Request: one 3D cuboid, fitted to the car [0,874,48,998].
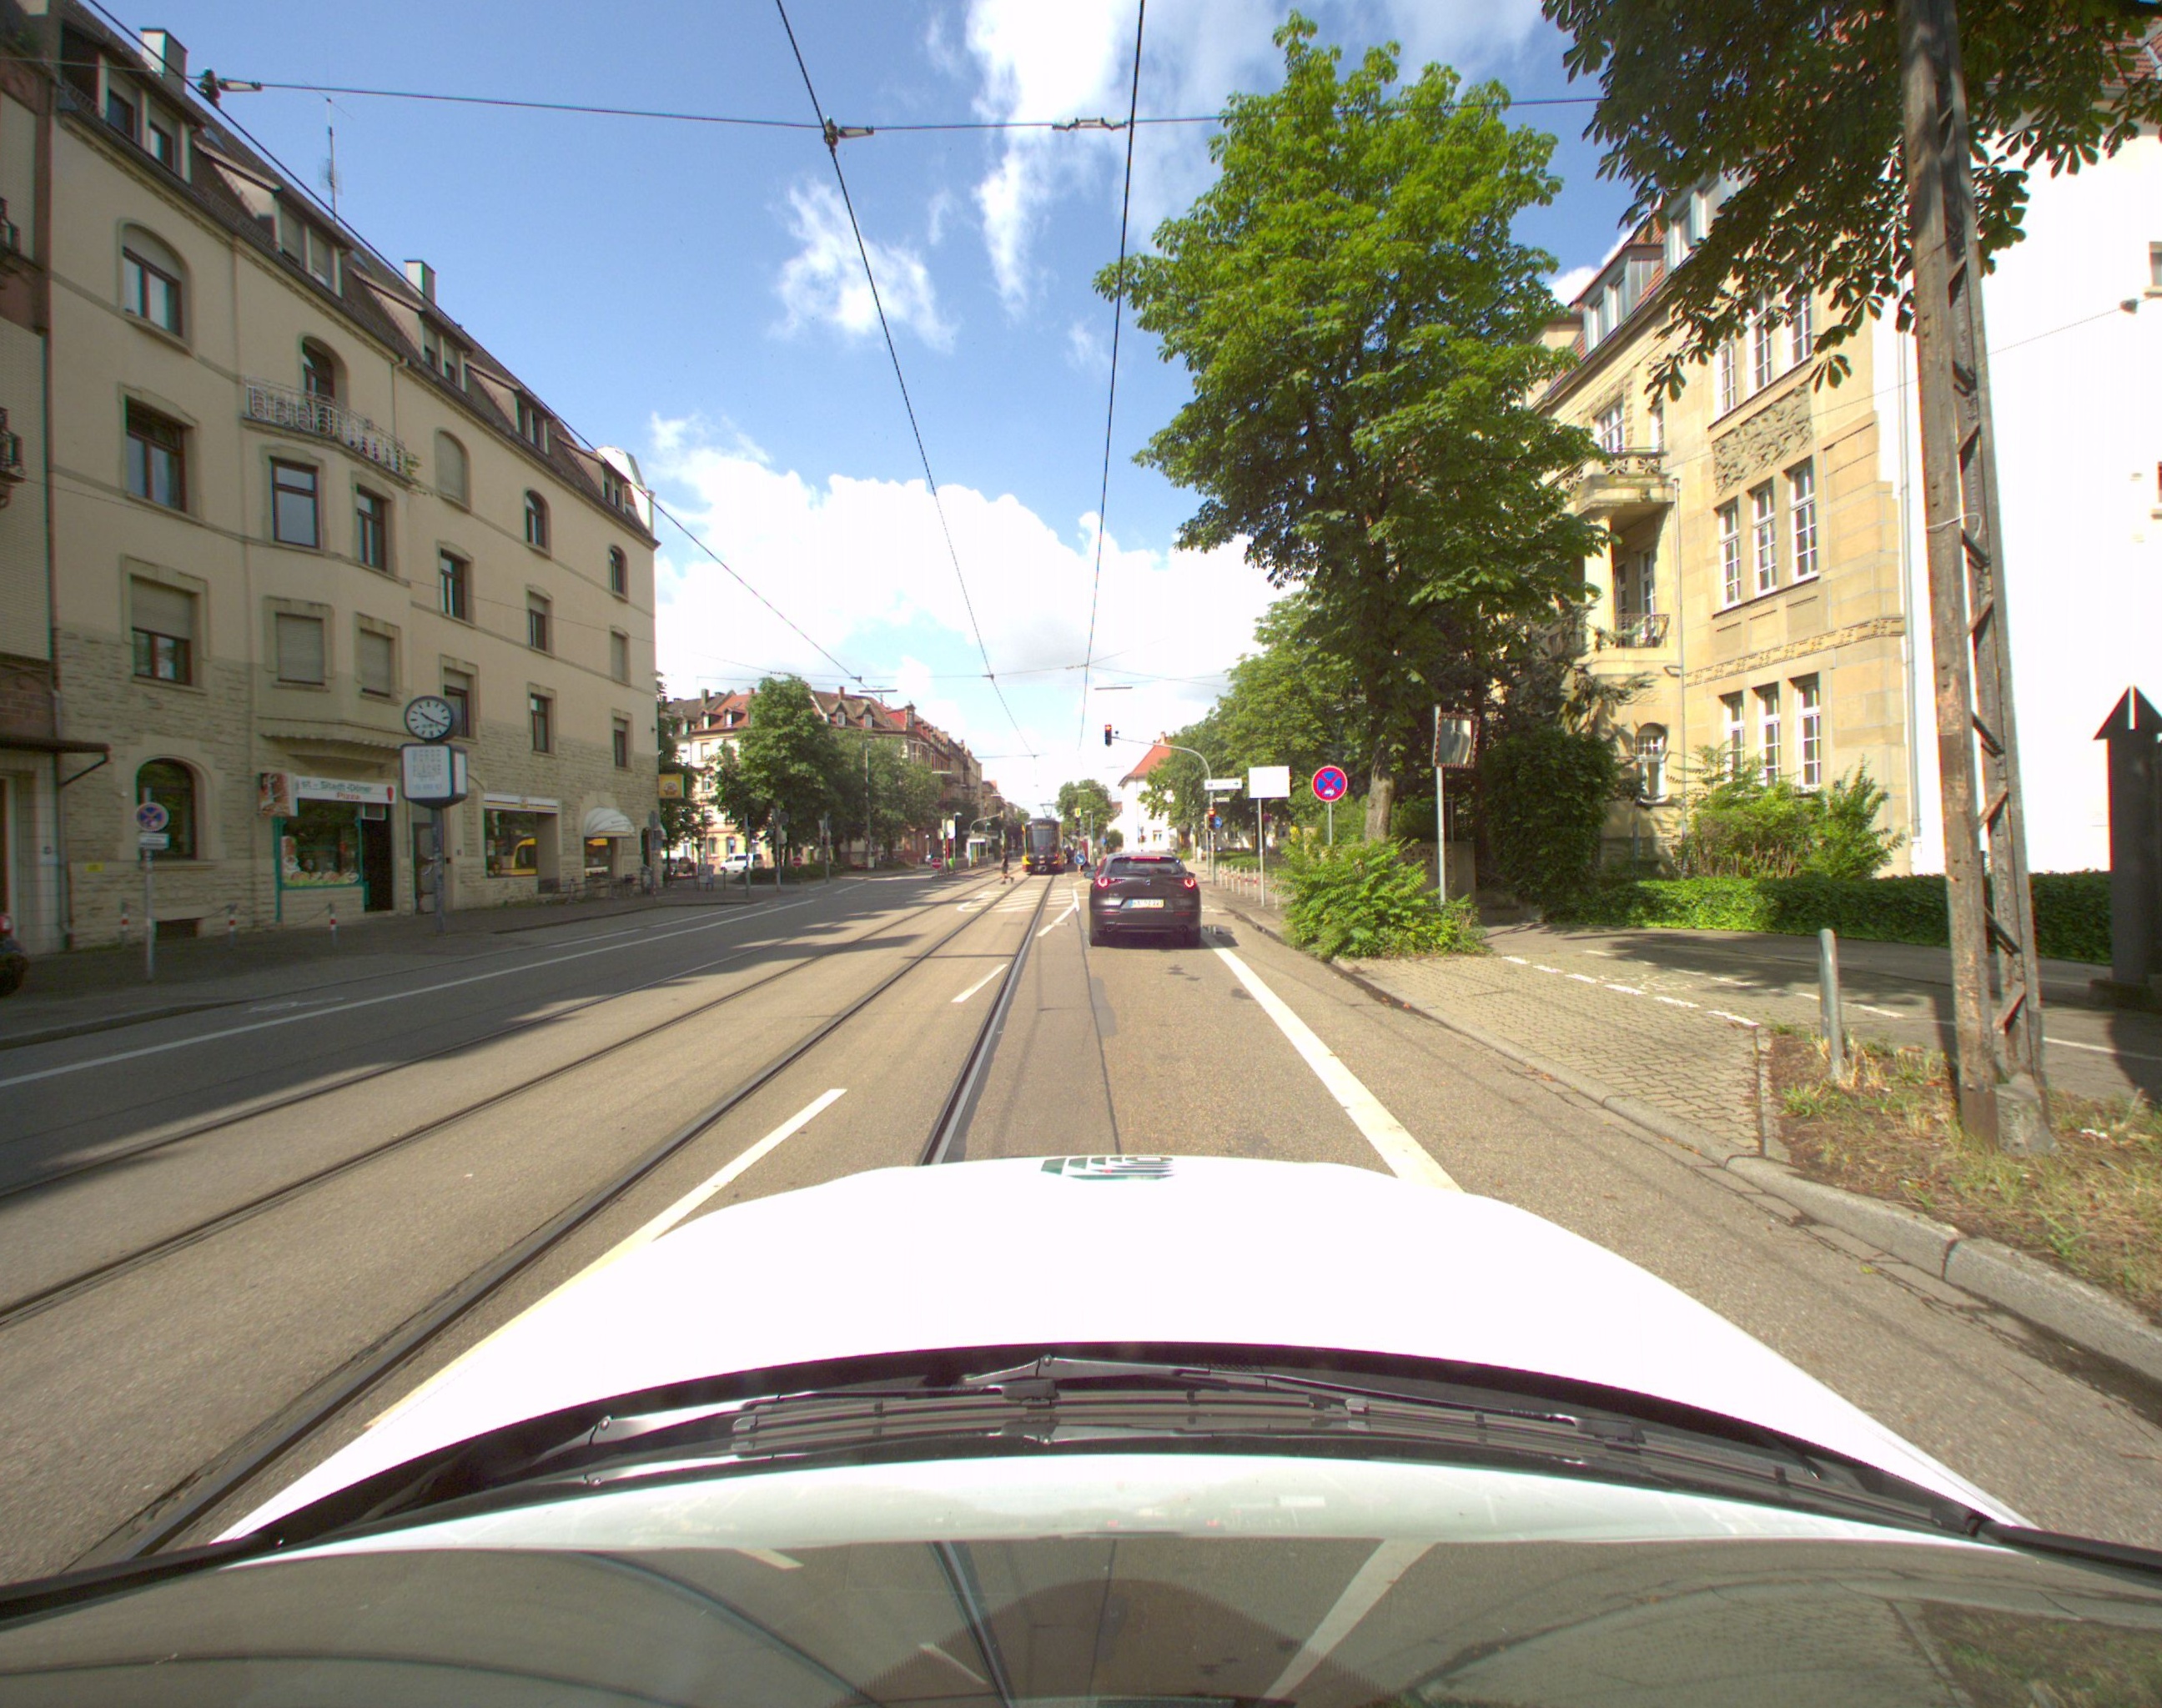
[{"bbox_3d":[-14.928,1.016,9.663,3.224,1.513,1.679,0,0,1],"label":"car"}]

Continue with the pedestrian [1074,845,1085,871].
[{"bbox_3d":[-0.106,0.272,51.280,0.666,1.605,0.699,-1,0,-3],"label":"pedestrian"}]

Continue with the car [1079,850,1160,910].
[{"bbox_3d":[1.014,0.671,23.851,1.781,1.492,4.876,-2,1,-4],"label":"car"}]

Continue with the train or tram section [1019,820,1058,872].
[{"bbox_3d":[-3.280,-0.572,61.232,2.647,3.527,8.483,-2,0,-4],"label":"train or tram section"}]

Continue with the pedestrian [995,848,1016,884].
[{"bbox_3d":[-3.477,0.530,37.477,0.874,1.605,0.630,-1,0,-6],"label":"pedestrian"}]

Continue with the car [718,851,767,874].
[{"bbox_3d":[-35.486,0.916,85.389,4.096,2.013,2.005,-5,0,8],"label":"car"}]

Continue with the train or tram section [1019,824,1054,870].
[{"bbox_3d":[-3.898,-0.546,69.712,2.647,3.527,8.483,-2,0,-4],"label":"train or tram section"}]

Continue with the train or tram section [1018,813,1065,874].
[{"bbox_3d":[-2.660,-0.608,52.753,2.647,3.527,8.483,-2,0,-4],"label":"train or tram section"}]

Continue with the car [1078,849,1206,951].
[{"bbox_3d":[0.927,0.685,14.557,1.785,1.512,4.347,-1,0,-2],"label":"car"}]
